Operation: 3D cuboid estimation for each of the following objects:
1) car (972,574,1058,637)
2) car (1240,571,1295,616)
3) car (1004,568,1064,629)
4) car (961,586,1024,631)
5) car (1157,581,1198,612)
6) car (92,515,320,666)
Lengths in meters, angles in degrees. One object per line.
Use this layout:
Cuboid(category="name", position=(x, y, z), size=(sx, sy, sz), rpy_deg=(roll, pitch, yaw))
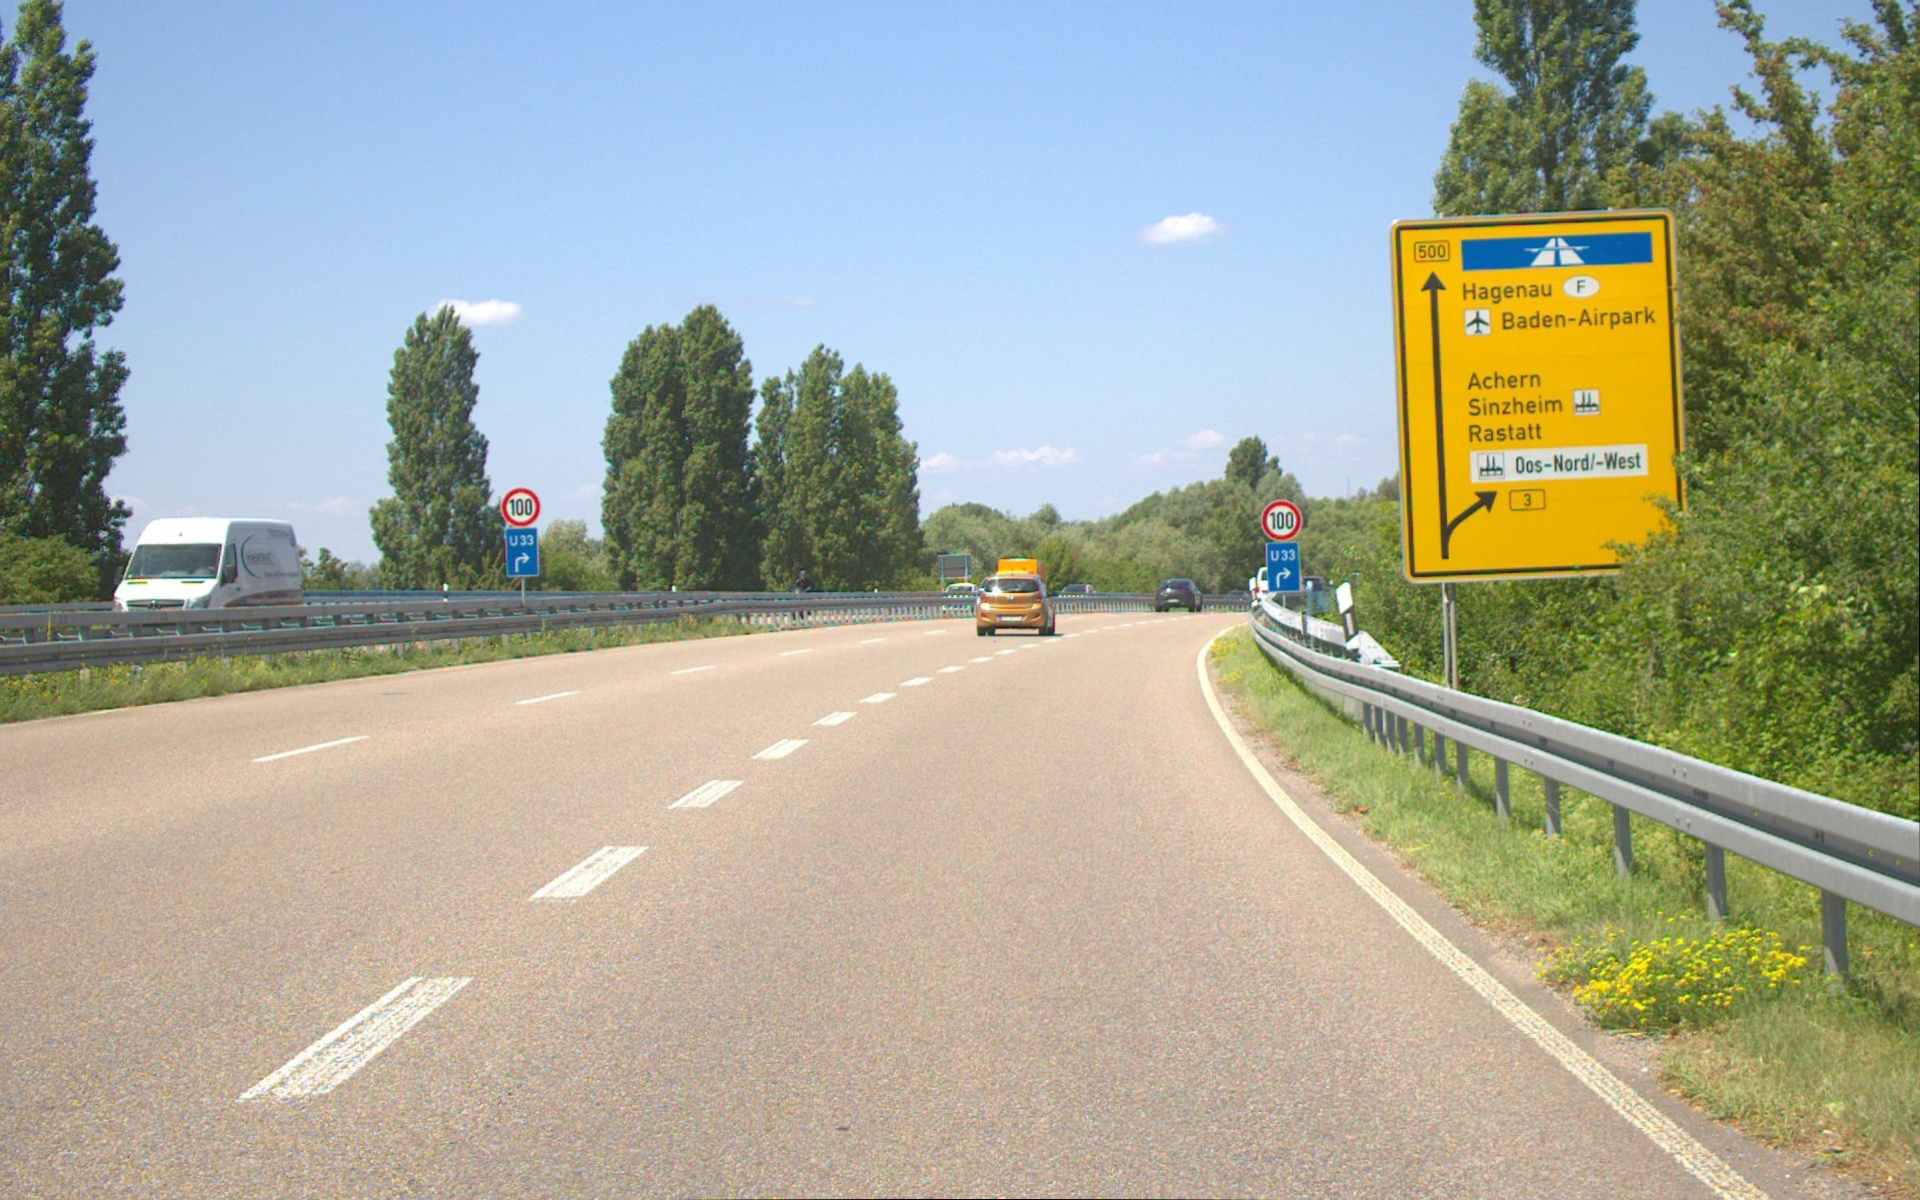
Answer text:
Cuboid(category="car", position=(1.356, 0.108, 82.589), size=(1.841, 1.459, 3.999), rpy_deg=(1, 0, 4))
Cuboid(category="car", position=(13.116, -0.276, 146.427), size=(1.842, 1.889, 3.998), rpy_deg=(1, 0, 12))
Cuboid(category="car", position=(4.087, -0.091, 188.033), size=(2.306, 3.281, 7.025), rpy_deg=(-1, 0, 9))
Cuboid(category="car", position=(1.117, 0.275, 115.866), size=(1.841, 1.446, 3.999), rpy_deg=(1, 0, 5))
Cuboid(category="car", position=(10.734, -0.192, 169.492), size=(1.944, 1.459, 3.999), rpy_deg=(1, 0, 4))
Cuboid(category="car", position=(-14.583, -0.118, 66.993), size=(2.279, 2.764, 7.220), rpy_deg=(-1, -1, 5))
